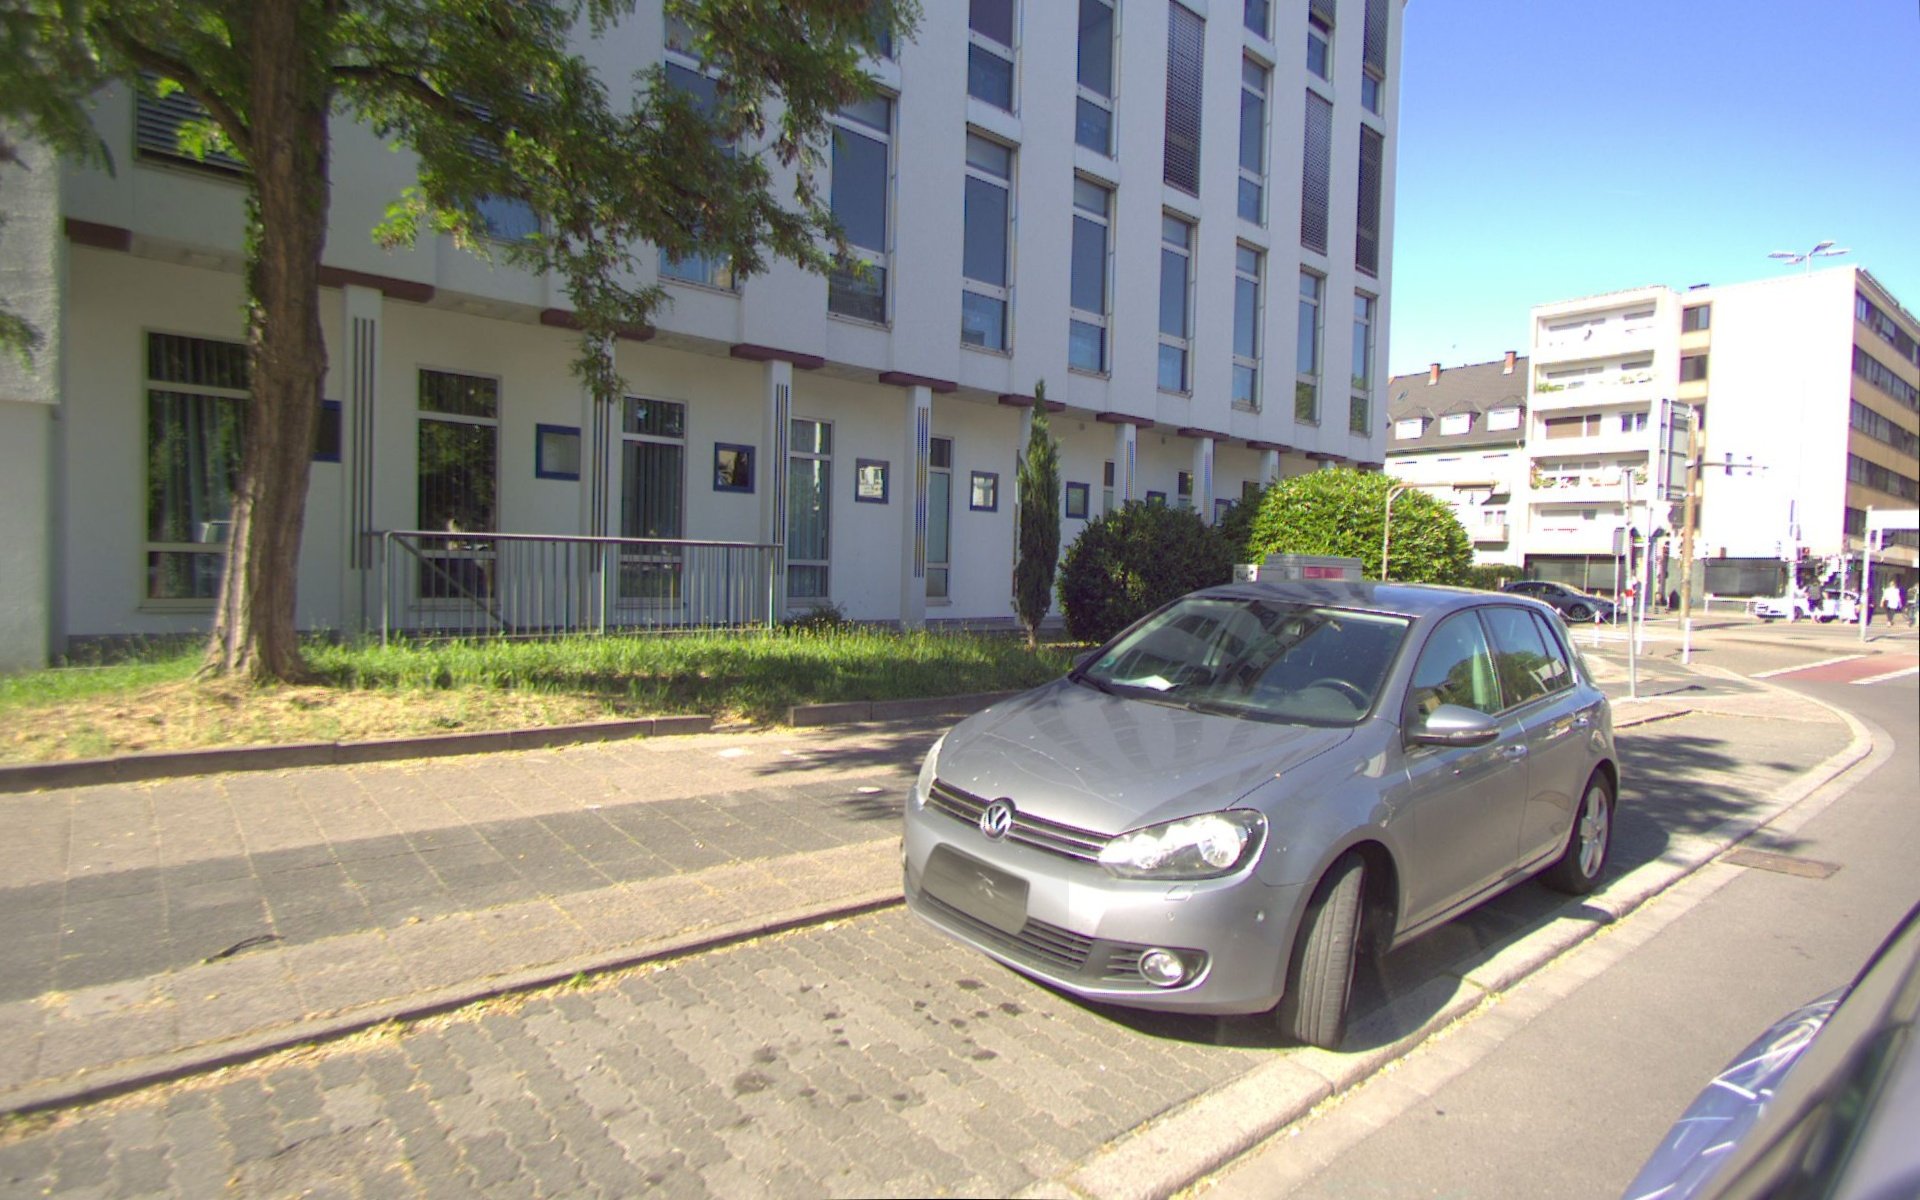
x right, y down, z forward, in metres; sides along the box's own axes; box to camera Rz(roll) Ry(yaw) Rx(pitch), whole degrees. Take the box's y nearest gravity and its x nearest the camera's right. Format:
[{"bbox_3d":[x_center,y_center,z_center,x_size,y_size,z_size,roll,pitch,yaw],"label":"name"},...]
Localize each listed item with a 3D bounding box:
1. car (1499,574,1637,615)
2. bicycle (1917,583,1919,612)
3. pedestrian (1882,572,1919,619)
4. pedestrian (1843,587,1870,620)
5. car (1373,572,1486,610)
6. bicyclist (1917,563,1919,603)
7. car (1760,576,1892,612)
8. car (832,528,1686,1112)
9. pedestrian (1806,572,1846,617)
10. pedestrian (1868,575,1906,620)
[{"bbox_3d":[22.867,-0.259,38.178,1.848,1.425,4.059,-1,2,-34],"label":"car"},{"bbox_3d":[37.671,-0.097,39.175,0.864,1.002,1.874,1,4,43],"label":"bicycle"},{"bbox_3d":[34.006,-0.158,36.482,0.775,1.627,0.926,-1,3,15],"label":"pedestrian"},{"bbox_3d":[34.992,0.128,39.515,0.516,1.217,0.649,-3,3,-30],"label":"pedestrian"},{"bbox_3d":[19.760,-0.435,42.774,1.664,1.510,4.077,-1,2,-34],"label":"car"},{"bbox_3d":[37.536,-0.654,39.026,0.867,1.553,0.840,2,2,42],"label":"bicyclist"},{"bbox_3d":[41.246,-0.286,48.289,4.471,1.538,1.881,2,0,6],"label":"car"},{"bbox_3d":[1.621,0.560,4.496,4.082,1.466,1.641,2,1,-41],"label":"car"},{"bbox_3d":[33.044,-0.217,38.623,0.786,1.663,0.980,-1,3,15],"label":"pedestrian"},{"bbox_3d":[35.322,-0.093,38.561,0.707,1.642,0.899,-3,3,-30],"label":"pedestrian"}]
